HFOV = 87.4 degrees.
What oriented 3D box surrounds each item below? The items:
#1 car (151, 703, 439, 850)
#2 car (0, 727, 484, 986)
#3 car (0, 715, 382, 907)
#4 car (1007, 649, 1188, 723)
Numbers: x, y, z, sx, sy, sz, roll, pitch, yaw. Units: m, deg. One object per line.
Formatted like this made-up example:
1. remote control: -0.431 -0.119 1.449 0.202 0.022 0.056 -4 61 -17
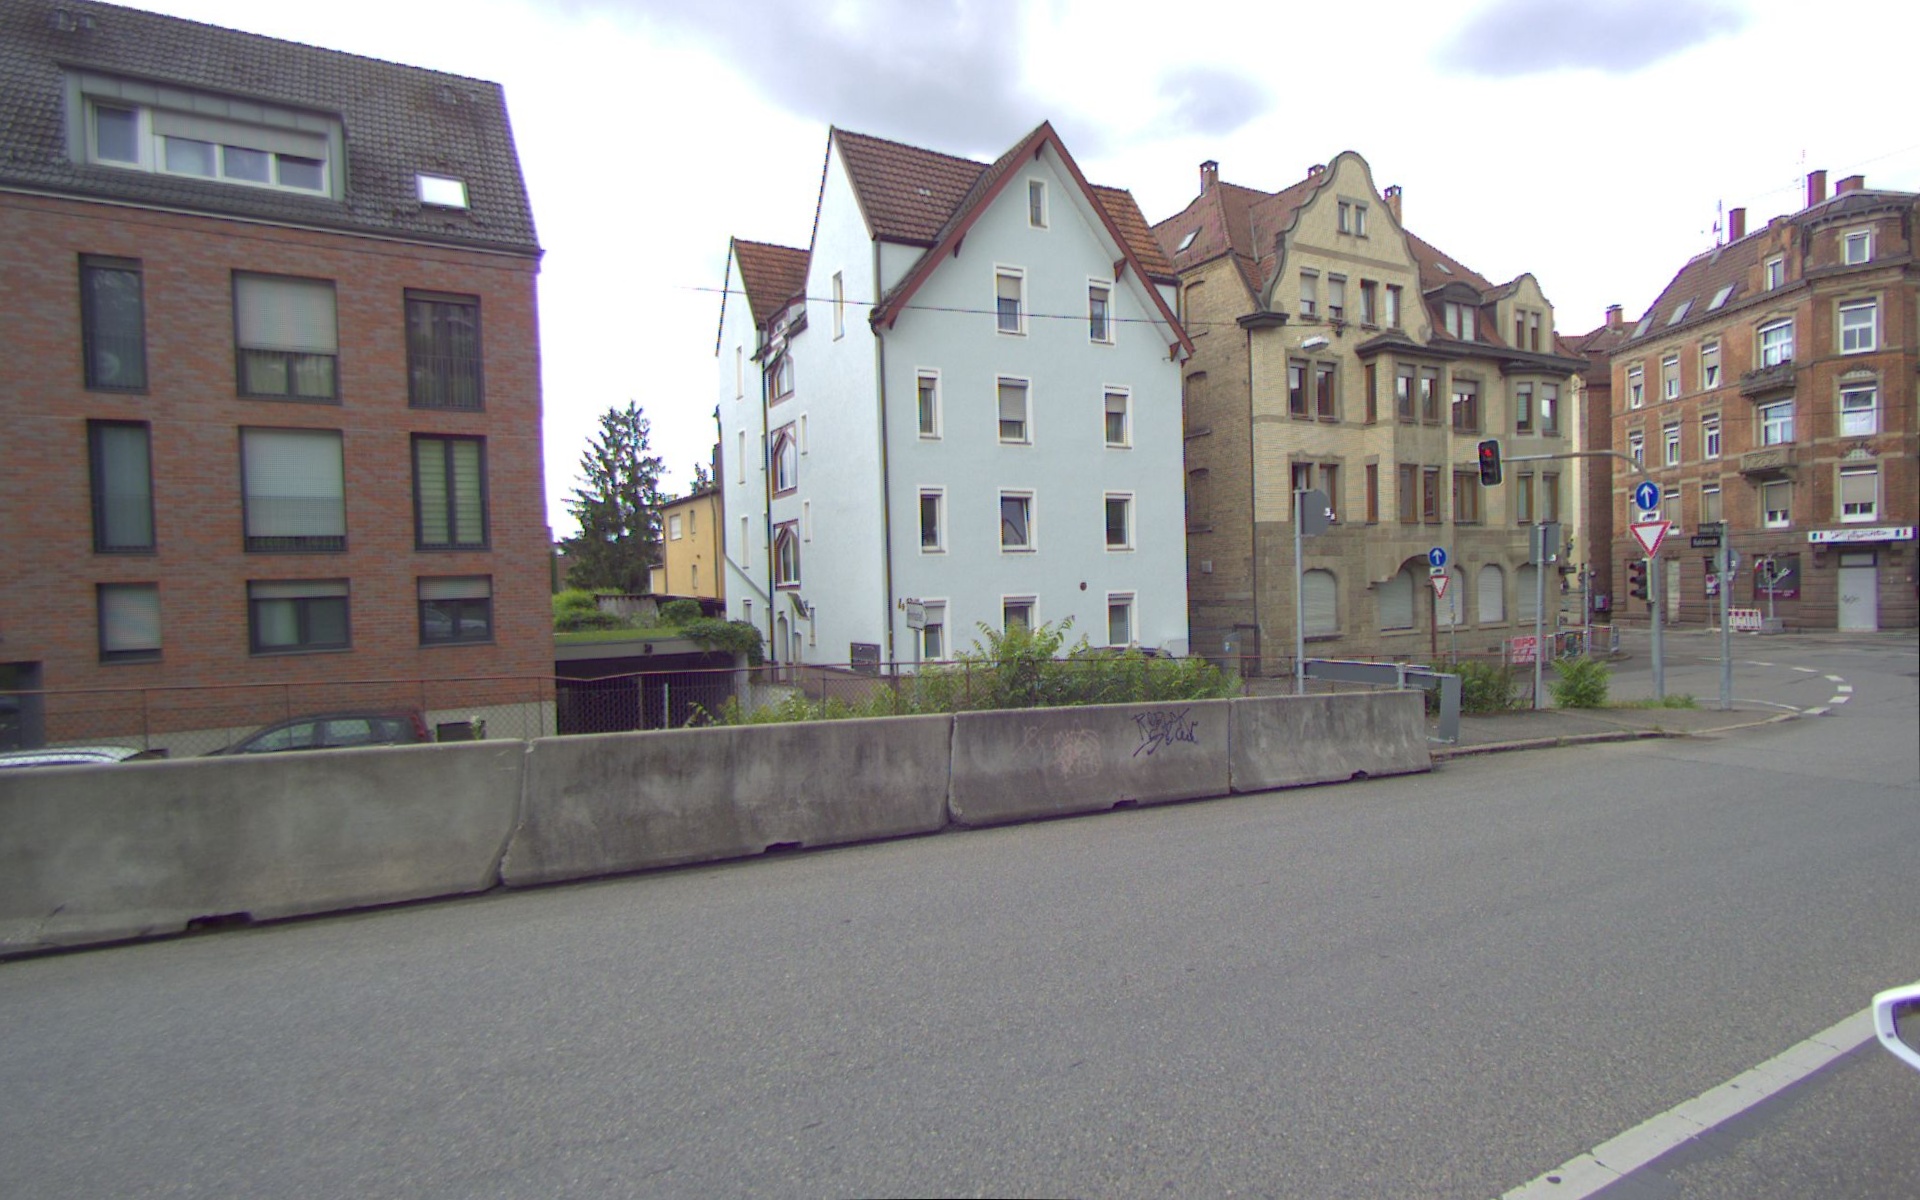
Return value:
1. car: -10.604 2.749 16.333 3.722 1.825 1.706 1 0 -30
2. car: -6.386 2.075 8.698 3.956 1.534 1.526 1 0 -33
3. car: -8.961 2.250 11.163 4.371 1.534 1.819 1 0 -30
4. car: 3.335 1.999 24.098 4.185 1.575 1.674 1 -3 -31
